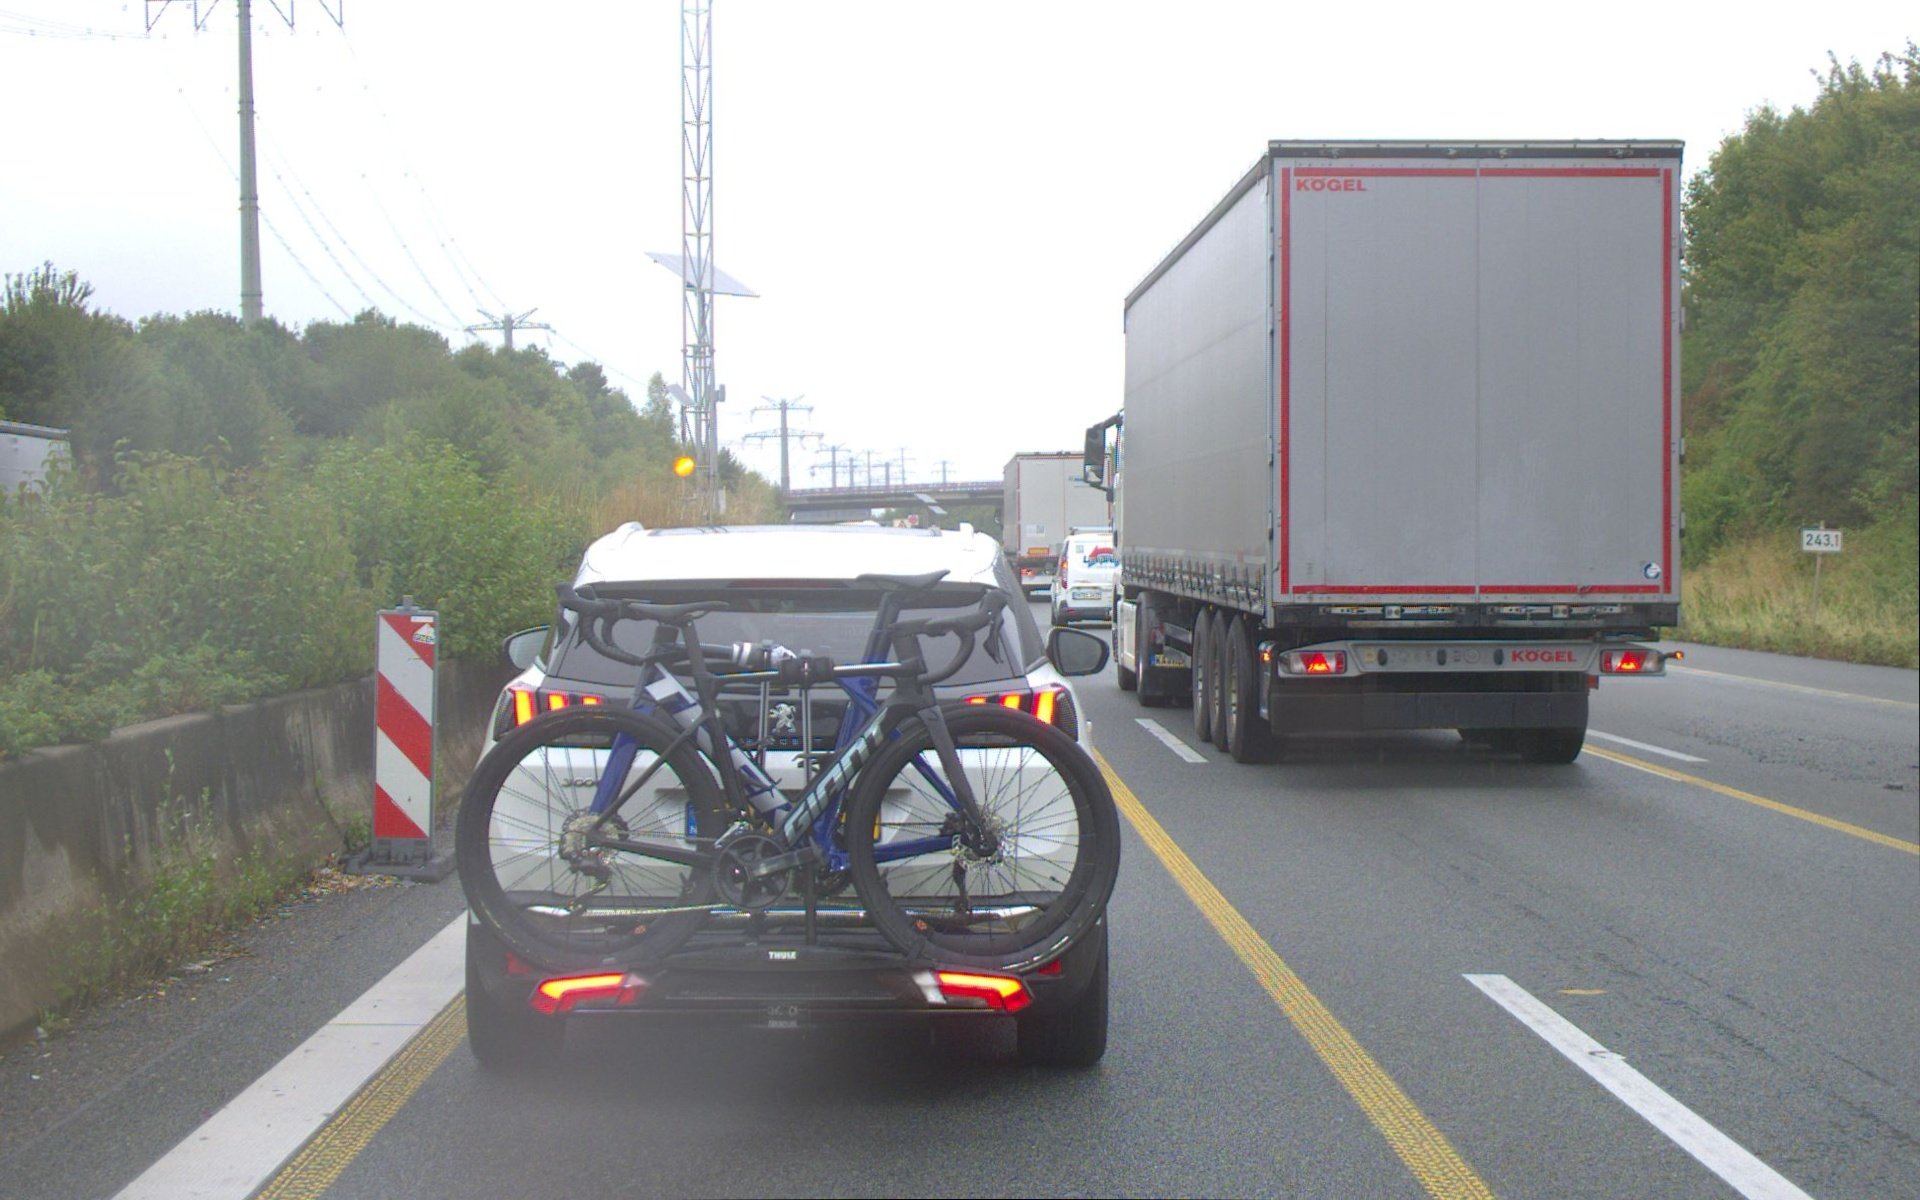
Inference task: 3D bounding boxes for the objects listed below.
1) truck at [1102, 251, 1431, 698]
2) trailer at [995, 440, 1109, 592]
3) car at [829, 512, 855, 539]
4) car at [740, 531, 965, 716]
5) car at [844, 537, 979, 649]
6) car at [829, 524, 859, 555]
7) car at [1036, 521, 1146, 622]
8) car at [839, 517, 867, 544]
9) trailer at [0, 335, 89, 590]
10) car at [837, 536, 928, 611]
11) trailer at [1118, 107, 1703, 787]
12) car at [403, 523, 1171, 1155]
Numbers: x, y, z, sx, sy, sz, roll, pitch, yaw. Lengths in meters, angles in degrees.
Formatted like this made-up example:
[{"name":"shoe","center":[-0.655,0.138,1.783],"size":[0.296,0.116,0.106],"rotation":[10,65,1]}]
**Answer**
[{"name":"truck","center":[2.949,-1.205,34.635],"size":[2.706,4.124,5.691],"rotation":[0,1,-1]},{"name":"trailer","center":[2.546,-2.378,99.270],"size":[2.692,4.062,13.634],"rotation":[0,1,-1]},{"name":"car","center":[-8.861,-5.581,258.641],"size":[1.931,1.966,4.001],"rotation":[0,2,-1]},{"name":"car","center":[-0.922,0.162,30.432],"size":[1.850,1.525,4.000],"rotation":[0,1,-1]},{"name":"car","center":[-0.696,-0.130,49.057],"size":[1.850,1.525,4.000],"rotation":[0,1,-1]},{"name":"car","center":[-7.679,-4.015,227.578],"size":[1.931,1.966,4.001],"rotation":[0,2,-1]},{"name":"car","center":[2.430,-0.560,64.733],"size":[1.829,1.833,4.656],"rotation":[0,1,-1]},{"name":"car","center":[-7.667,-4.983,245.729],"size":[1.931,1.904,4.001],"rotation":[0,2,-1]},{"name":"trailer","center":[-16.384,-2.079,52.764],"size":[2.785,4.010,13.252],"rotation":[-3,1,-1]},{"name":"car","center":[-1.598,-0.578,71.718],"size":[1.850,1.525,4.000],"rotation":[0,1,-1]},{"name":"trailer","center":[3.058,-1.044,27.792],"size":[2.706,4.132,13.733],"rotation":[0,1,-1]},{"name":"car","center":[-0.455,0.537,10.678],"size":[1.850,1.525,4.769],"rotation":[0,1,-1]}]
